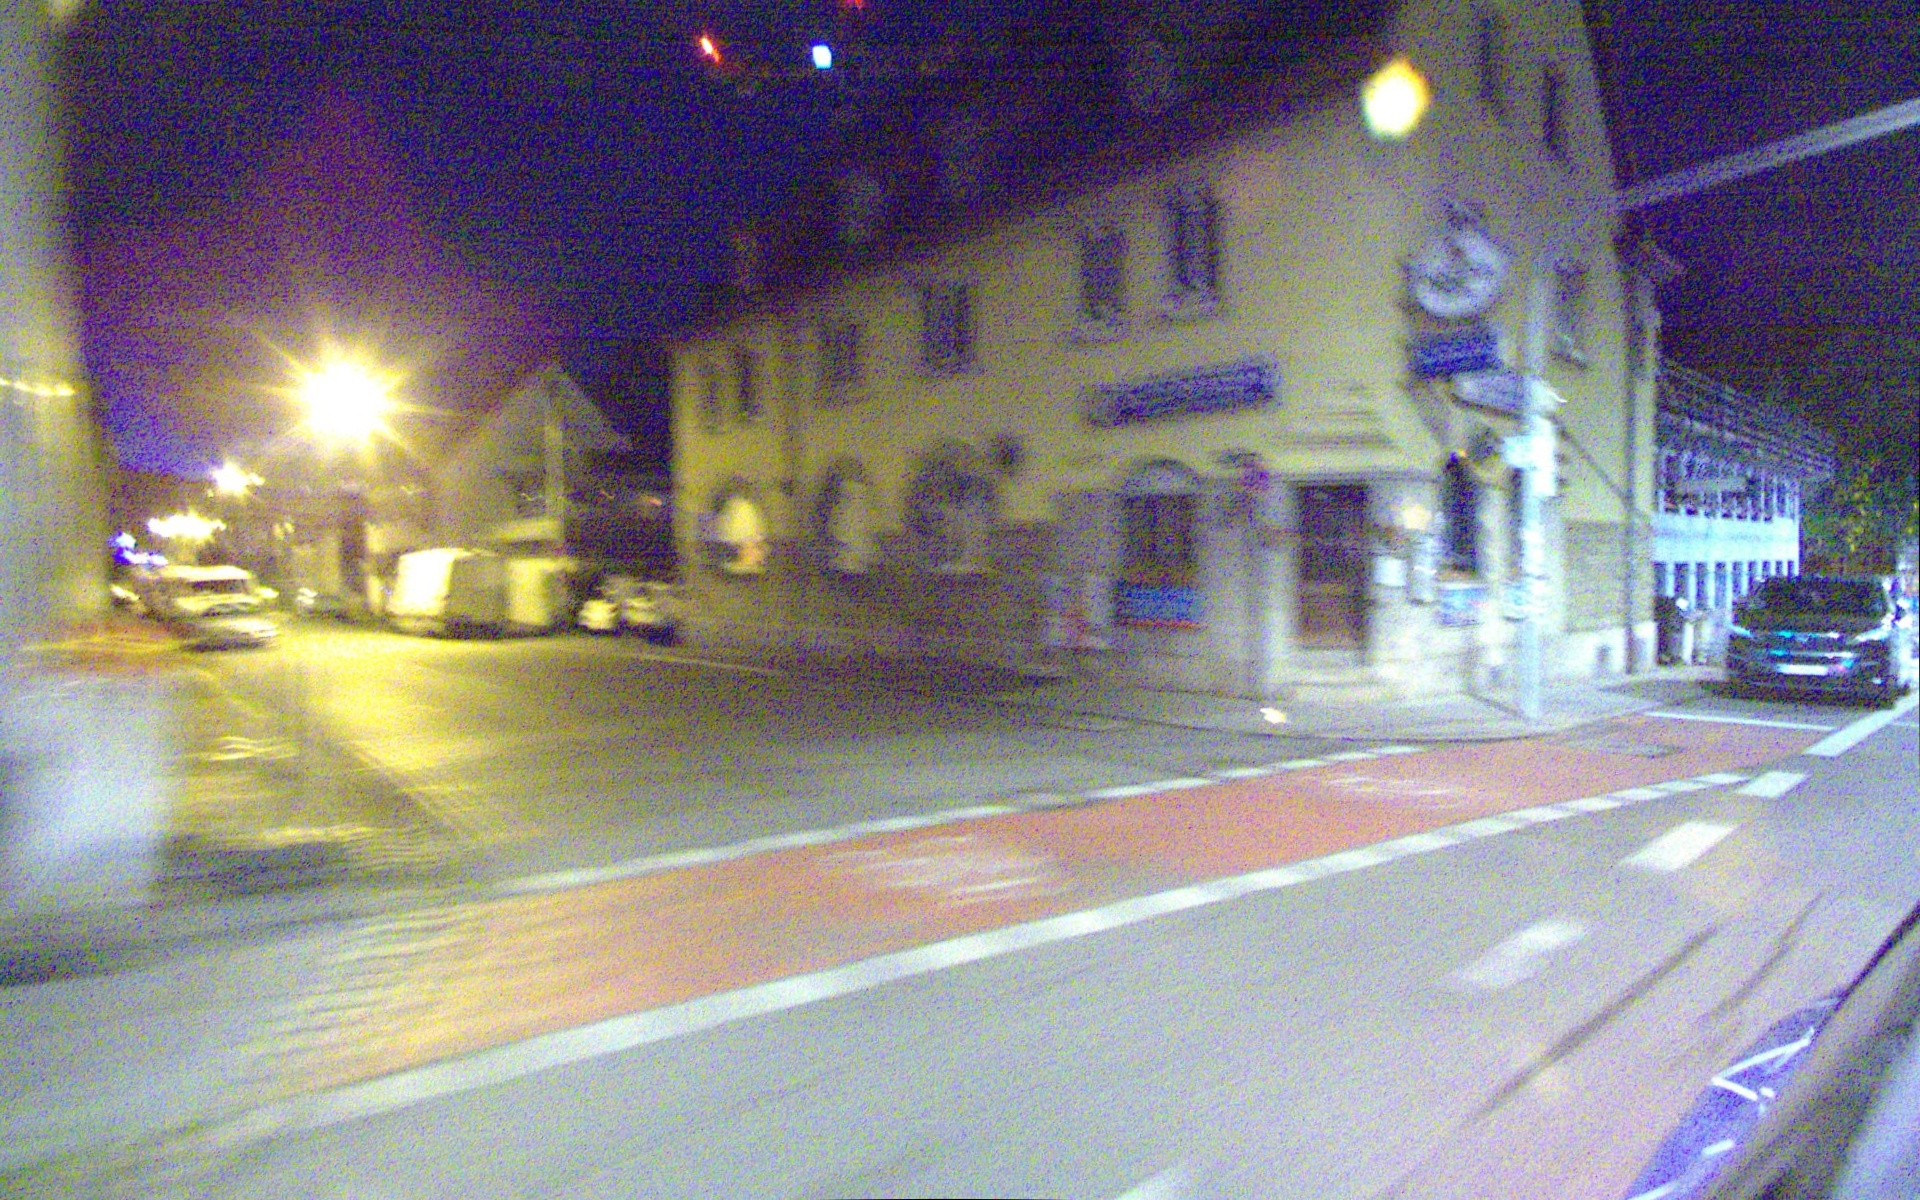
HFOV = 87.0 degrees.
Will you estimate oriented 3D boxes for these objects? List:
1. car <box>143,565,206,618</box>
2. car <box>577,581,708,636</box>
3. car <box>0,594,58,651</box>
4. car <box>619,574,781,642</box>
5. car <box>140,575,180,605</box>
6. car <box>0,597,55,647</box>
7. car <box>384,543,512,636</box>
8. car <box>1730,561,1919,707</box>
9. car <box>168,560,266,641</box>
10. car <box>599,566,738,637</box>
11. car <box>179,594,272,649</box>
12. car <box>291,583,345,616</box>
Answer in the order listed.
[{"bbox_3d":[-42.018,-0.462,54.064,2.242,2.547,6.679,-5,3,-40],"label":"car"},{"bbox_3d":[-9.753,0.225,31.187,3.440,1.578,1.753,-1,0,-44],"label":"car"},{"bbox_3d":[-26.513,0.608,26.710,3.883,1.471,1.876,-1,0,-37],"label":"car"},{"bbox_3d":[-6.980,0.191,27.341,3.848,1.704,1.834,-1,0,-42],"label":"car"},{"bbox_3d":[-57.252,-0.690,72.378,1.985,1.993,4.946,-5,3,-40],"label":"car"},{"bbox_3d":[-29.979,0.679,30.558,3.785,1.471,1.675,-1,0,-37],"label":"car"},{"bbox_3d":[-16.265,-0.296,31.928,2.278,2.627,6.332,0,0,-40],"label":"car"},{"bbox_3d":[13.259,0.408,15.264,4.819,1.850,1.912,0,1,-44],"label":"car"},{"bbox_3d":[-23.823,-0.009,32.345,2.091,2.299,5.472,-5,3,-40],"label":"car"},{"bbox_3d":[-8.439,0.020,29.421,3.439,1.945,1.839,-1,0,-43],"label":"car"},{"bbox_3d":[-20.039,0.535,27.550,1.673,1.273,3.994,-5,3,-40],"label":"car"},{"bbox_3d":[-32.257,-0.031,50.793,1.697,1.559,4.217,-1,0,-41],"label":"car"}]
